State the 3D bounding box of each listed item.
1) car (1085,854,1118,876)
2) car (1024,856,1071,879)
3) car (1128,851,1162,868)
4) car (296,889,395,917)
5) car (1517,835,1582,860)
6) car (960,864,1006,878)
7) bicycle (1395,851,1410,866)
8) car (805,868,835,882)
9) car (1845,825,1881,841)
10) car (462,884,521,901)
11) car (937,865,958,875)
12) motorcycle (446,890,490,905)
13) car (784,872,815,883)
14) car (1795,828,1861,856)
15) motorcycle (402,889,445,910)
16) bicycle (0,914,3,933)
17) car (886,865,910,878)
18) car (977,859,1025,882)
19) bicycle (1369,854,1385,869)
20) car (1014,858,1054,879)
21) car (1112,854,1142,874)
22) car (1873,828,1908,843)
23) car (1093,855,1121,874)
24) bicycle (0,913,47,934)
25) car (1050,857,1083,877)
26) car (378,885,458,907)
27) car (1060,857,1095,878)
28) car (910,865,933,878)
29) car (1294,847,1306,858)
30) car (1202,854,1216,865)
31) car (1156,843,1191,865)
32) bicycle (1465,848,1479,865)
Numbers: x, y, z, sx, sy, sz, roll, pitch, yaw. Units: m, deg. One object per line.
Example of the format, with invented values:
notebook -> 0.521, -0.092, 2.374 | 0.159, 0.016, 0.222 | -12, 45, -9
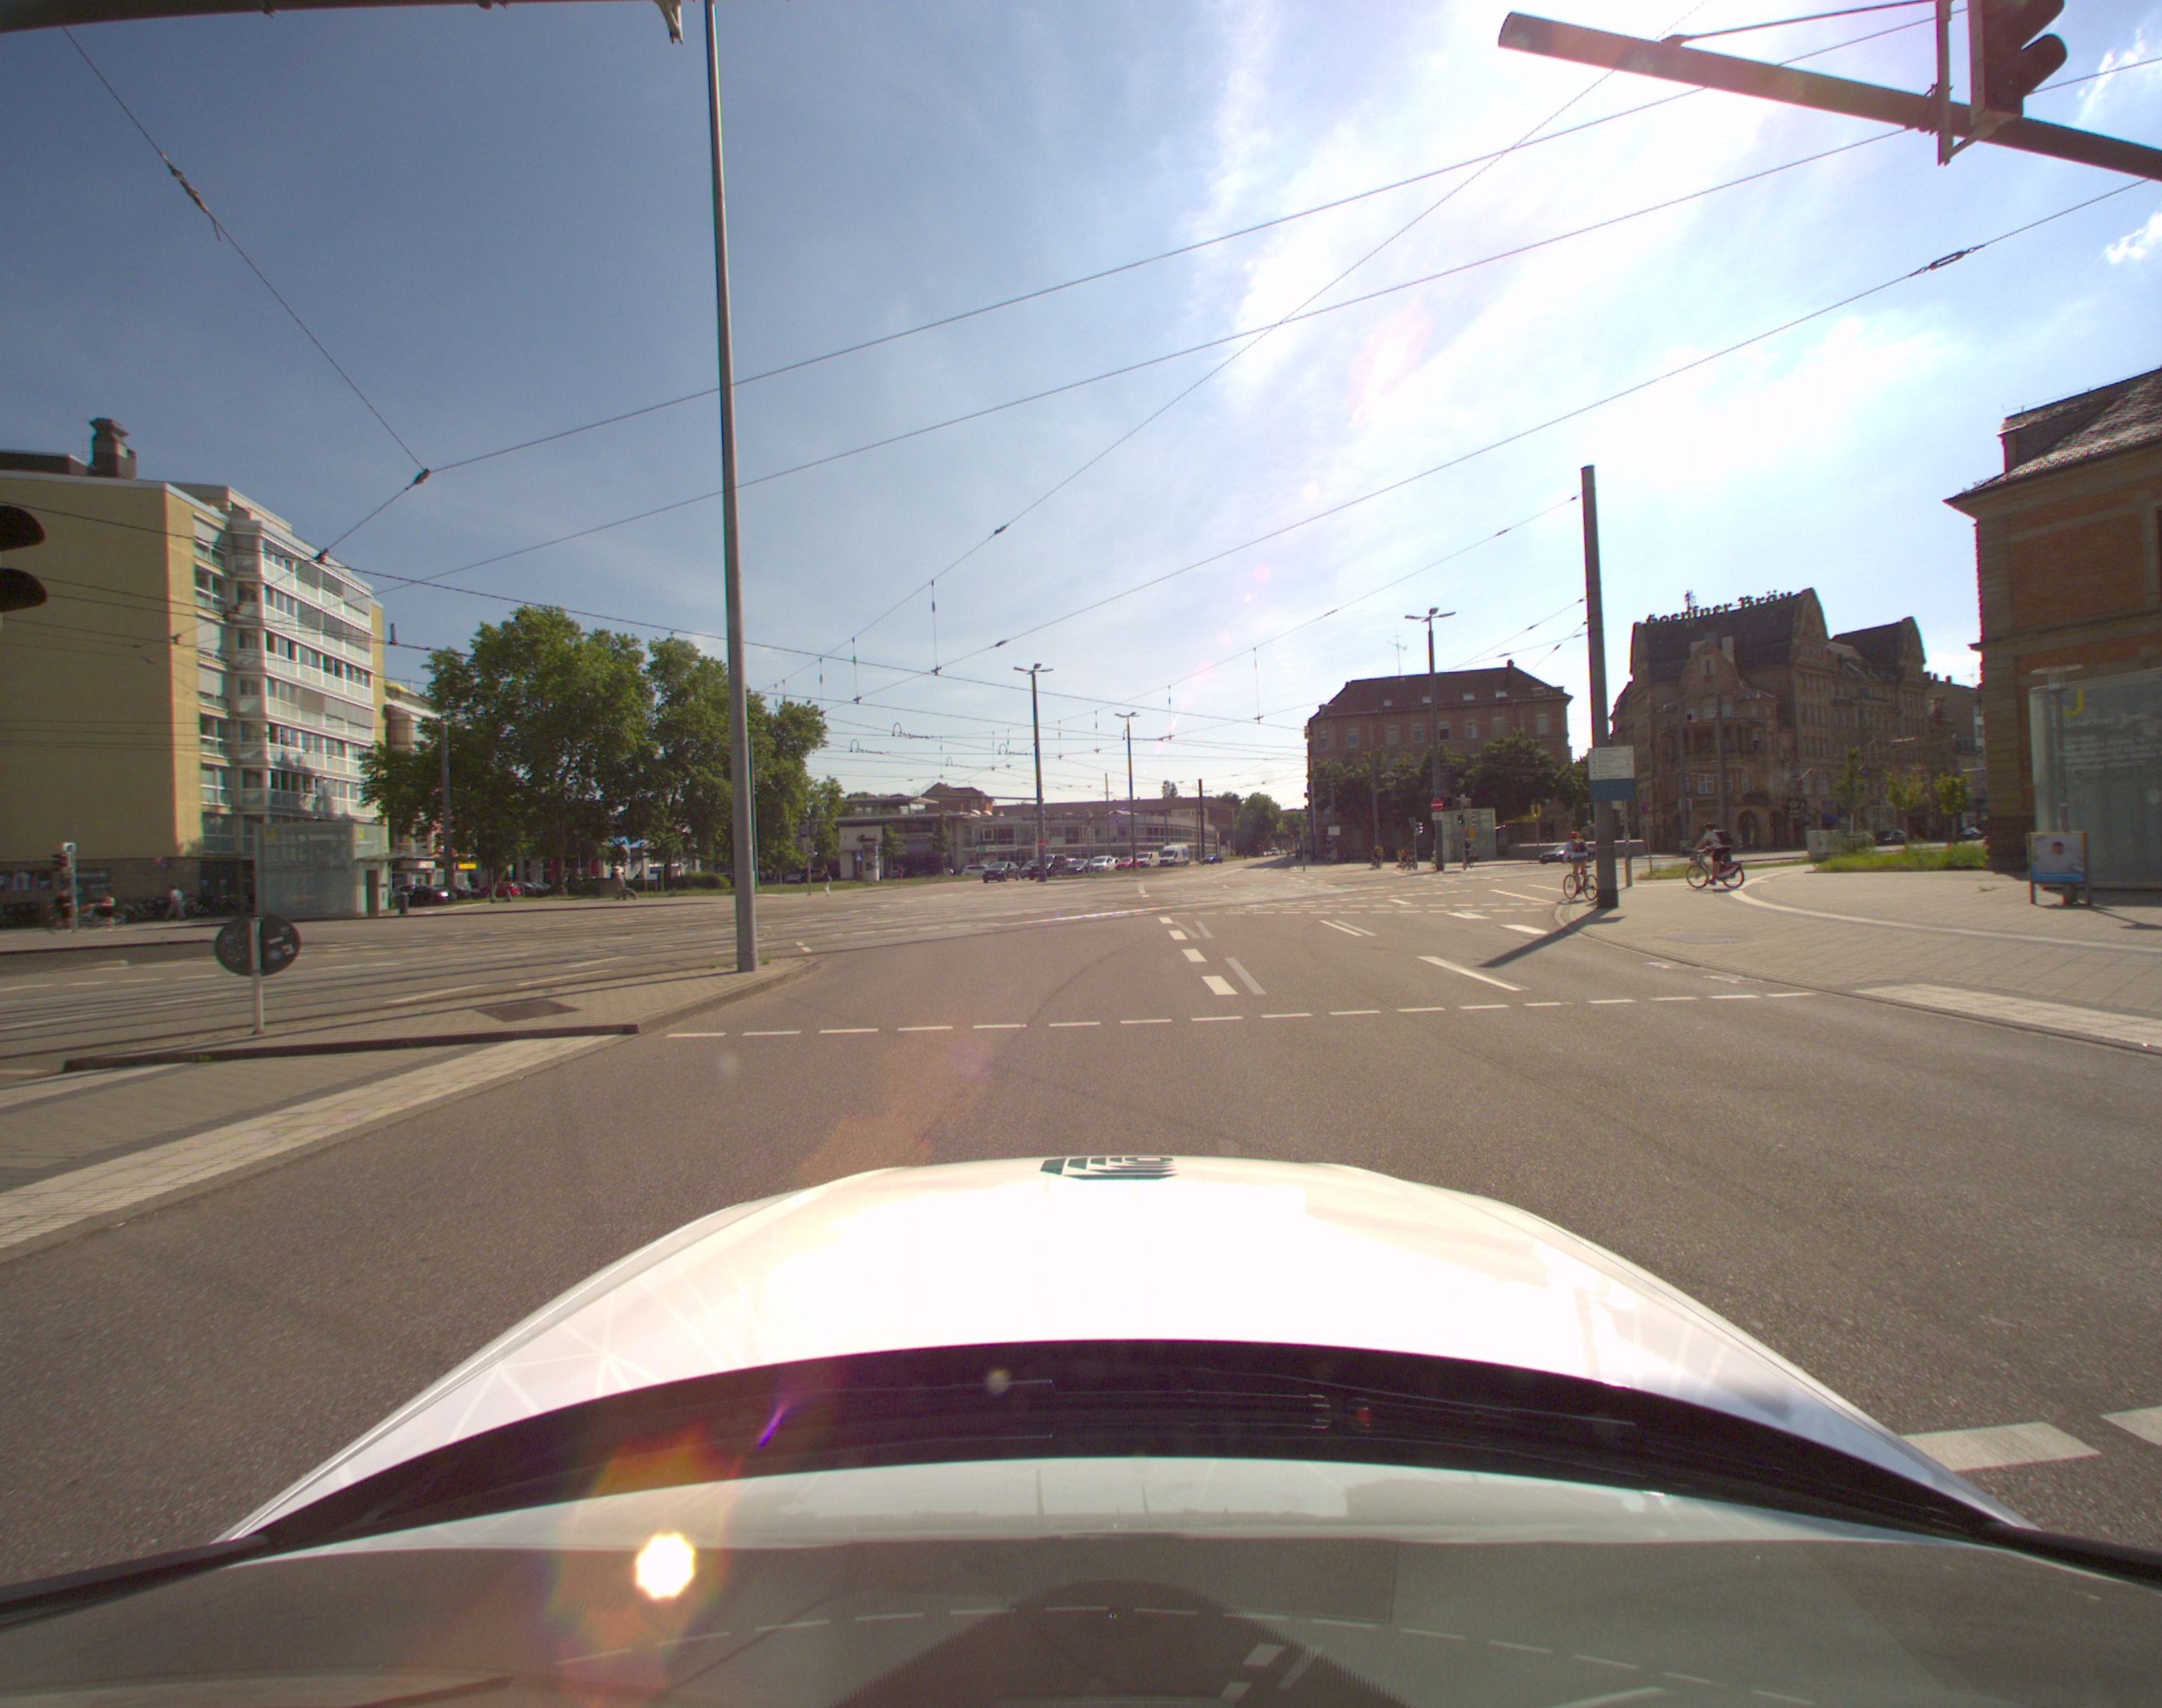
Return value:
car -> 1.911, 1.011, 74.934 | 1.879, 1.917, 4.219 | -3, -2, 18
car -> -2.458, 1.002, 61.062 | 1.945, 1.588, 4.738 | -2, 0, 18
car -> 7.033, 0.541, 88.968 | 2.166, 1.680, 5.057 | -3, -1, 23
car -> -44.312, 2.957, 49.131 | 4.088, 1.471, 1.650 | -2, -4, -16
car -> 32.369, -0.457, 56.249 | 4.000, 1.584, 1.628 | -2, -1, -19
car -> -10.100, 1.774, 83.945 | 4.551, 1.436, 1.450 | -1, -1, 14
bicycle -> 22.887, 0.299, 58.079 | 0.918, 1.069, 2.856 | -1, 0, 20
car -> -31.379, 2.545, 97.967 | 1.983, 1.684, 4.006 | 0, -1, 6
car -> 76.416, -2.045, 79.583 | 3.594, 1.345, 1.622 | -2, 0, -31
car -> -51.026, 3.299, 70.505 | 3.731, 1.340, 1.734 | 0, -1, -16
car -> -15.819, 1.880, 96.601 | 1.824, 1.195, 3.999 | 0, -1, 0
motorcycle -> -37.857, 2.681, 50.307 | 0.632, 0.842, 2.051 | -3, 0, 35
car -> -33.736, 2.774, 97.587 | 1.983, 1.244, 4.006 | 0, -1, 6
car -> 38.313, -0.610, 41.767 | 3.465, 1.313, 1.655 | -2, 0, -33
motorcycle -> -36.661, 2.551, 45.417 | 2.020, 1.062, 0.642 | -2, 0, 8
bicycle -> -54.399, 3.484, 39.991 | 1.755, 0.916, 0.581 | -3, 0, -16
car -> -21.762, 2.082, 97.062 | 1.987, 1.486, 3.999 | -2, 0, -1
car -> -5.900, 1.243, 60.535 | 1.876, 1.588, 4.230 | -3, -2, 18
bicycle -> 21.267, 0.529, 58.590 | 0.919, 1.069, 2.758 | -1, -1, 17
car -> -3.822, 1.178, 67.332 | 1.879, 1.588, 4.018 | -3, -2, 18
car -> 4.665, 1.019, 81.812 | 1.879, 1.917, 4.219 | -3, -2, 18
car -> 82.824, -1.892, 83.326 | 3.622, 1.345, 1.622 | -2, 0, -31
car -> 2.814, 1.140, 86.390 | 1.792, 1.846, 4.219 | -3, -2, 18
bicycle -> -52.831, 3.482, 40.508 | 1.750, 0.916, 0.582 | -3, 0, -9
car -> -1.282, 1.173, 74.636 | 1.638, 1.739, 4.219 | -3, -2, 18
car -> -47.564, 2.975, 58.542 | 3.995, 1.440, 1.880 | 0, -1, -16
car -> -0.258, 1.119, 67.656 | 1.880, 1.588, 4.016 | -3, -2, 15
car -> -18.988, 2.027, 97.013 | 1.987, 1.486, 3.999 | 0, -1, 0
car -> 43.534, -0.263, 161.703 | 2.093, 2.013, 4.017 | -2, 0, 15
car -> 17.950, 0.780, 113.814 | 1.372, 1.414, 3.027 | -1, -1, 20
car -> 10.939, 0.038, 96.102 | 2.188, 2.575, 5.909 | -1, -1, 27
bicycle -> 24.400, 0.155, 50.849 | 0.661, 1.069, 2.477 | -1, 0, 24
